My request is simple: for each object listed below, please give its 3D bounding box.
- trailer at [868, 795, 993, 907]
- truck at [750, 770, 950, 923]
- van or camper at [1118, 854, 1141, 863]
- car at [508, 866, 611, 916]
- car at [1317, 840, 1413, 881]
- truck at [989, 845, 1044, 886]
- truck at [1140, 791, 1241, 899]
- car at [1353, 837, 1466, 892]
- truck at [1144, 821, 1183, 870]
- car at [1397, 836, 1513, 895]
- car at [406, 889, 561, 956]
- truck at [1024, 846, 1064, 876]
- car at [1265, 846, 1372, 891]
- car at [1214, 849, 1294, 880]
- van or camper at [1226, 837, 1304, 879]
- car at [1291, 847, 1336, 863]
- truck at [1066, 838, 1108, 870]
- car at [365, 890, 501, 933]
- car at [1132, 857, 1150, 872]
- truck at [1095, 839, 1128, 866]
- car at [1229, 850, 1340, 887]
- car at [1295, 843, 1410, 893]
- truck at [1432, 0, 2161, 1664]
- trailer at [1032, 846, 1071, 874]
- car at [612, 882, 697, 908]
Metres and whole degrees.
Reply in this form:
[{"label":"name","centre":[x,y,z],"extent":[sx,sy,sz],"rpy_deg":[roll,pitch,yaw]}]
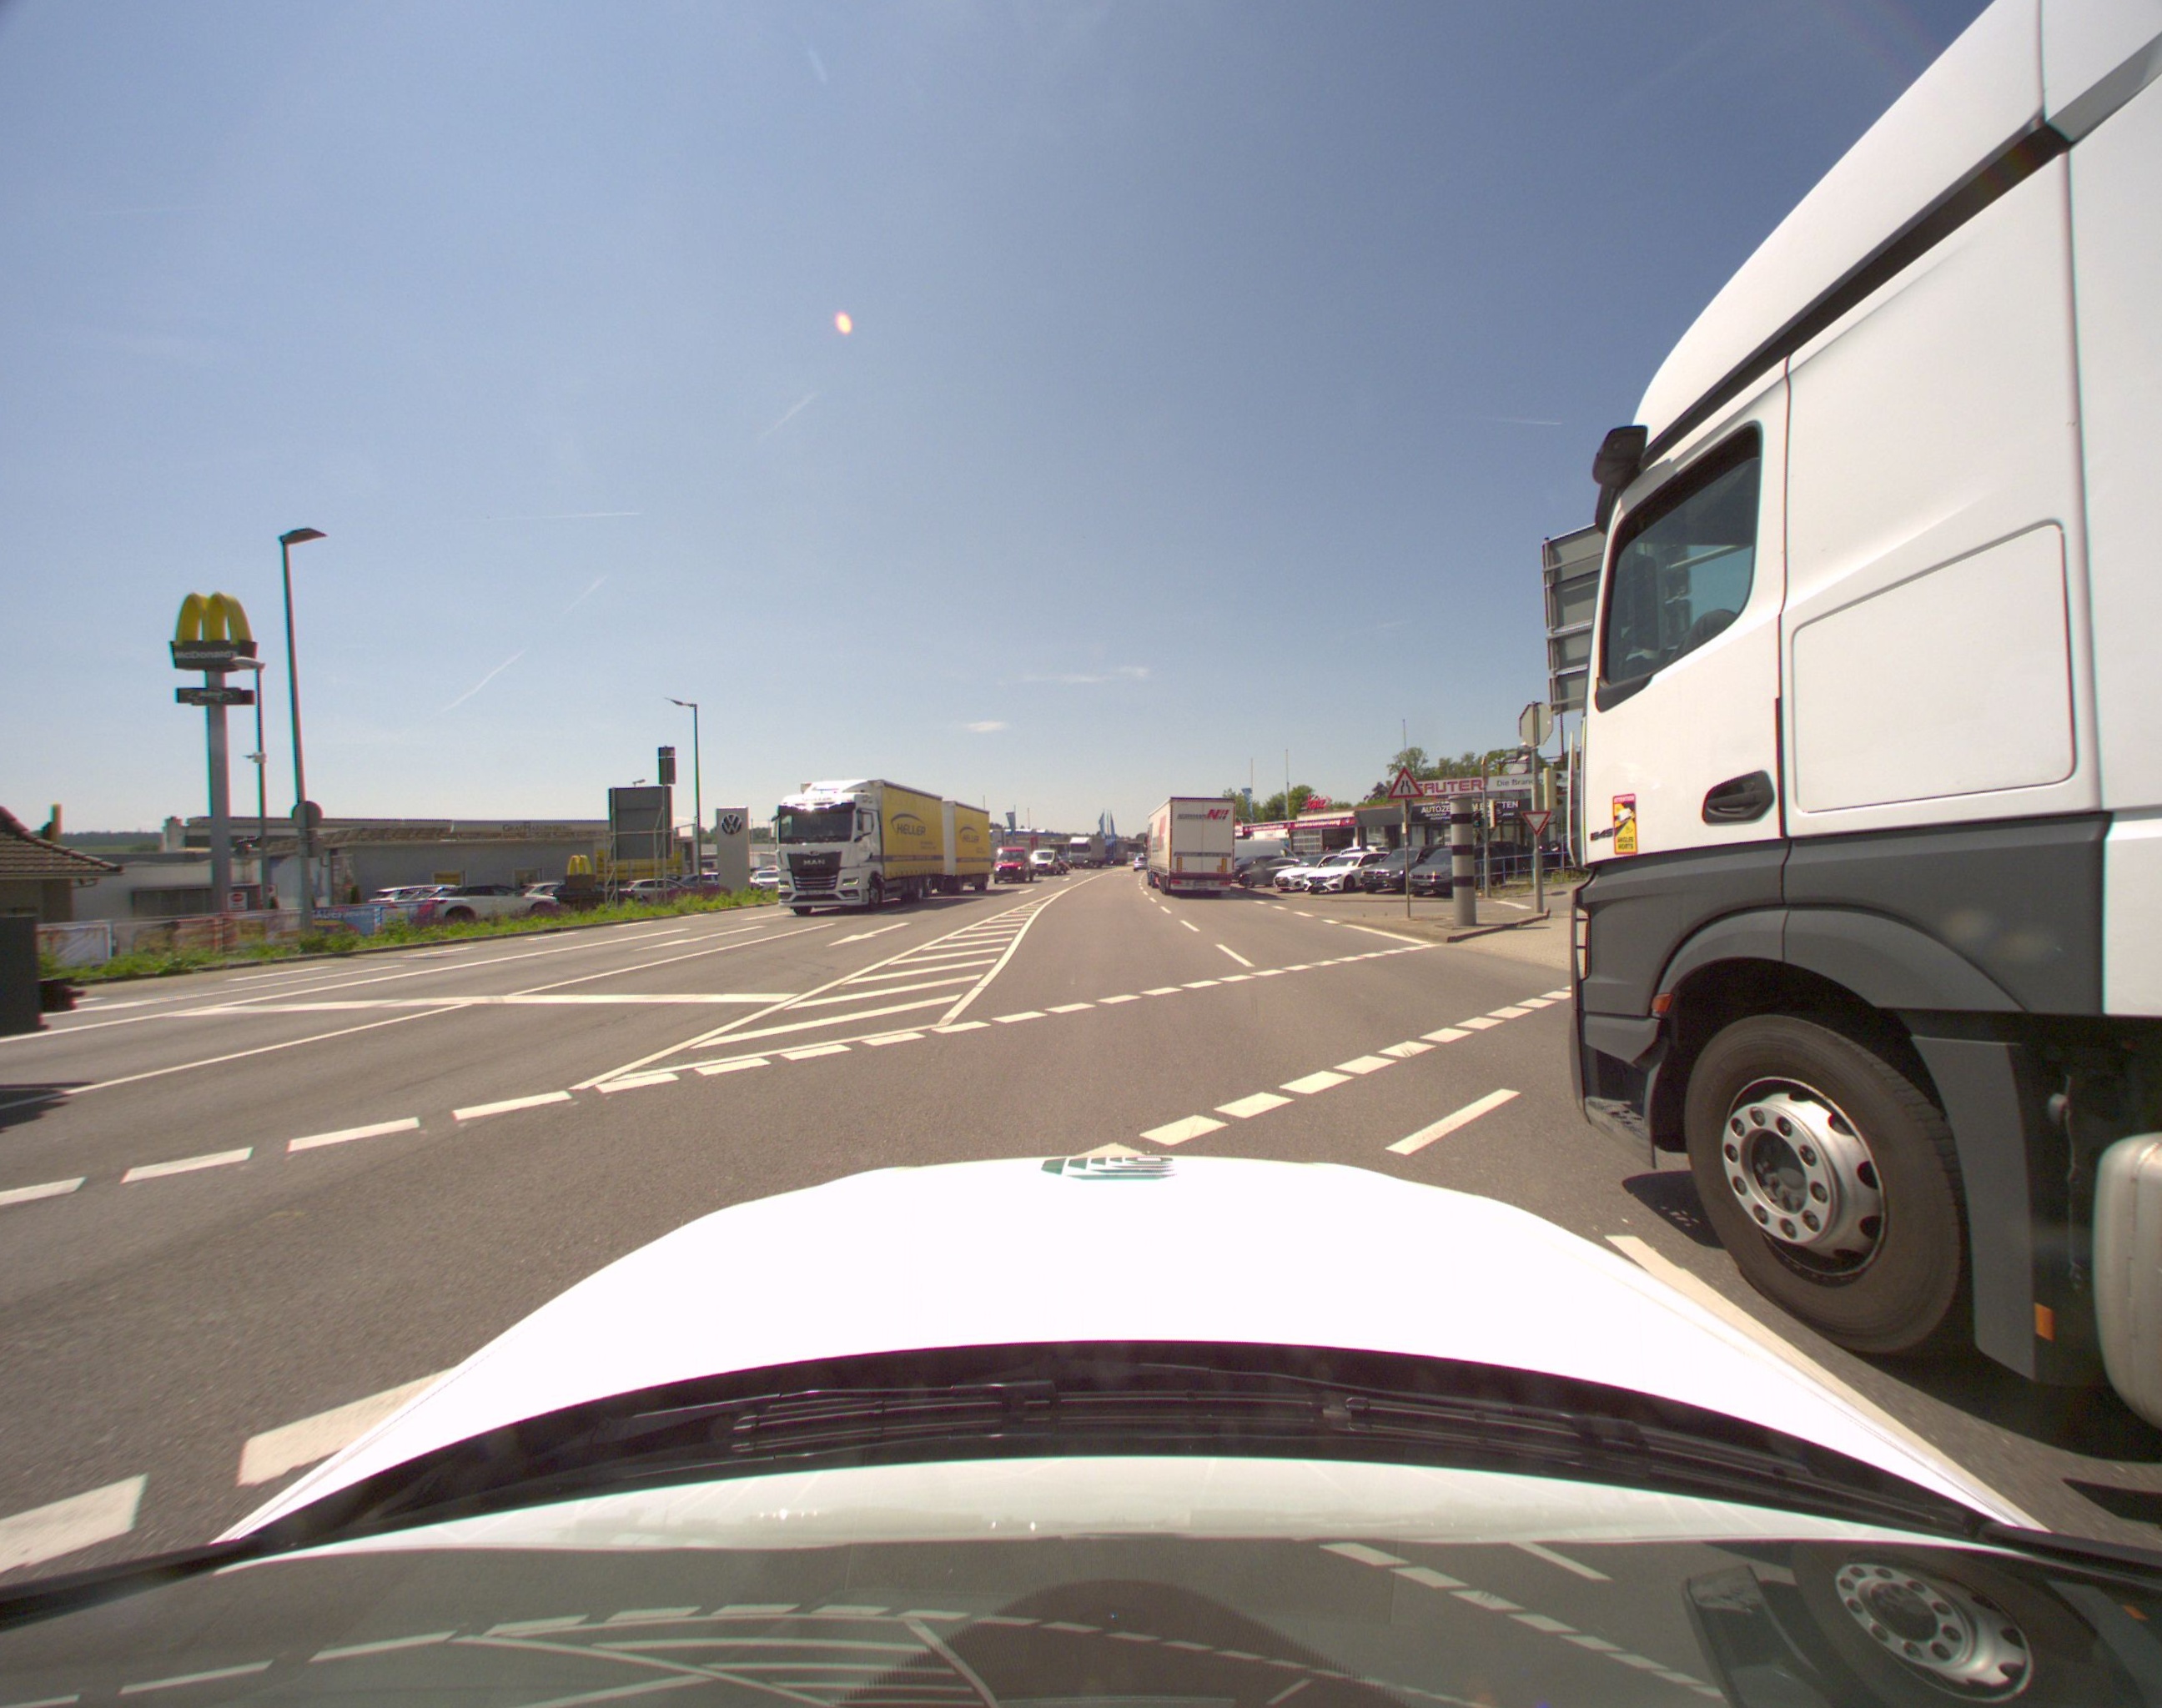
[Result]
[{"label":"trailer","centre":[-6.459,-0.109,37.115],"extent":[2.998,4.287,10.069],"rpy_deg":[-3,0,4]},{"label":"truck","centre":[-7.234,-0.198,27.733],"extent":[3.015,4.105,10.366],"rpy_deg":[-3,0,4]},{"label":"van or camper","centre":[10.722,0.917,179.611],"extent":[4.814,1.905,1.911],"rpy_deg":[-1,-1,12]},{"label":"car","centre":[-23.666,1.640,37.024],"extent":[1.689,2.013,3.523],"rpy_deg":[-3,0,38]},{"label":"car","centre":[14.444,0.346,41.588],"extent":[1.864,1.714,4.098],"rpy_deg":[-3,-2,-41]},{"label":"truck","centre":[-4.114,0.746,53.303],"extent":[2.384,2.445,6.882],"rpy_deg":[-1,-1,6]},{"label":"truck","centre":[4.861,-0.318,40.267],"extent":[2.962,4.093,17.639],"rpy_deg":[-1,0,1]},{"label":"car","centre":[12.486,0.394,30.859],"extent":[4.193,1.691,1.864],"rpy_deg":[-5,1,-34]},{"label":"truck","centre":[7.072,-0.639,71.293],"extent":[2.637,3.806,13.369],"rpy_deg":[-2,0,3]},{"label":"car","centre":[13.307,0.385,28.902],"extent":[4.204,1.691,1.863],"rpy_deg":[-5,1,-37]},{"label":"car","centre":[-22.439,2.516,30.707],"extent":[1.974,2.013,4.268],"rpy_deg":[-4,0,39]},{"label":"truck","centre":[-3.145,0.543,70.157],"extent":[2.412,2.340,5.685],"rpy_deg":[-4,0,7]},{"label":"car","centre":[10.355,0.624,35.484],"extent":[4.490,1.409,1.730],"rpy_deg":[-7,1,-29]},{"label":"car","centre":[10.538,0.614,49.575],"extent":[4.346,1.624,2.045],"rpy_deg":[-3,0,-24]},{"label":"van or camper","centre":[13.624,0.285,60.520],"extent":[5.342,2.905,2.236],"rpy_deg":[-2,0,5]},{"label":"car","centre":[21.110,0.072,73.883],"extent":[3.598,1.374,1.667],"rpy_deg":[-1,0,-19]},{"label":"truck","centre":[1.041,0.022,108.593],"extent":[2.773,3.889,16.528],"rpy_deg":[-1,-1,10]},{"label":"car","centre":[-27.017,2.373,34.063],"extent":[1.974,1.464,4.026],"rpy_deg":[-3,0,35]},{"label":"car","centre":[6.654,1.197,90.997],"extent":[1.915,1.610,4.098],"rpy_deg":[-2,-1,3]},{"label":"truck","centre":[5.025,-0.199,130.311],"extent":[2.826,3.889,17.052],"rpy_deg":[-1,-1,10]},{"label":"car","centre":[9.701,0.728,39.234],"extent":[1.938,1.387,4.875],"rpy_deg":[-4,-2,-41]},{"label":"car","centre":[11.039,0.543,32.980],"extent":[4.762,1.552,1.978],"rpy_deg":[-5,1,-37]},{"label":"truck","centre":[3.446,-0.519,1.281],"extent":[2.962,4.010,6.329],"rpy_deg":[-4,0,2]},{"label":"trailer","centre":[-2.605,0.539,74.646],"extent":[2.415,2.338,6.909],"rpy_deg":[-4,-1,7]},{"label":"car","centre":[-21.166,2.039,40.518],"extent":[1.543,1.068,3.391],"rpy_deg":[-3,0,37]}]
